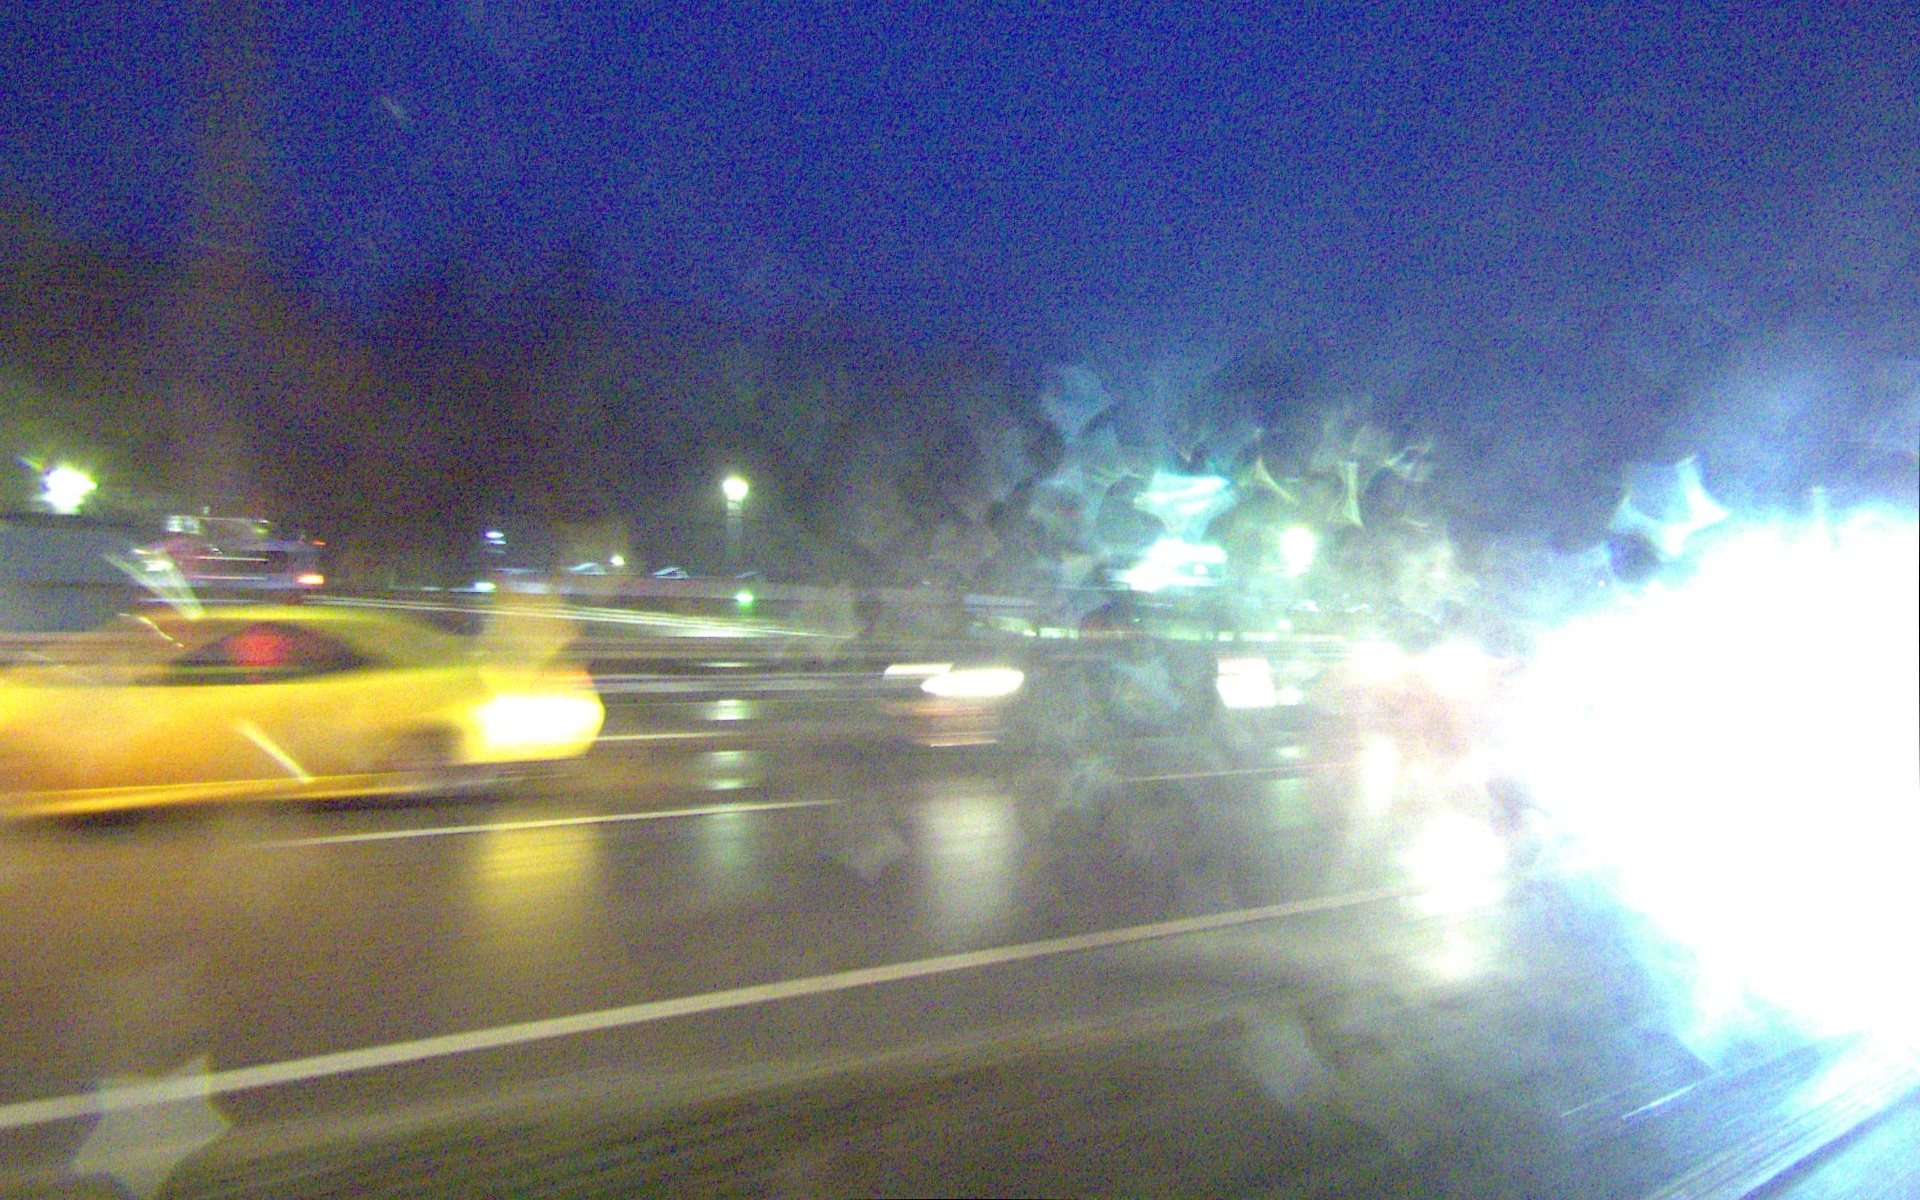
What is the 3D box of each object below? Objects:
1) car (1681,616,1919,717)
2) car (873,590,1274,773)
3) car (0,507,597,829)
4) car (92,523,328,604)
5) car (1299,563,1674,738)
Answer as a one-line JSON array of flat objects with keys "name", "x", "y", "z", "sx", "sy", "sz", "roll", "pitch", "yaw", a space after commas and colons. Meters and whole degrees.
[{"name": "car", "x": 15.872, "y": 1.156, "z": 18.415, "sx": 5.136, "sy": 1.579, "sz": 2.174, "roll": 2, "pitch": 0, "yaw": -27}, {"name": "car", "x": 1.181, "y": 0.740, "z": 10.380, "sx": 3.643, "sy": 1.549, "sz": 1.957, "roll": 2, "pitch": 1, "yaw": -29}, {"name": "car", "x": -4.944, "y": 0.378, "z": 6.805, "sx": 4.441, "sy": 1.770, "sz": 1.986, "roll": 2, "pitch": 1, "yaw": -27}, {"name": "car", "x": -24.559, "y": -1.152, "z": 33.245, "sx": 5.946, "sy": 2.338, "sz": 1.985, "roll": 2, "pitch": 1, "yaw": -28}, {"name": "car", "x": 7.305, "y": 0.633, "z": 13.870, "sx": 4.933, "sy": 2.040, "sz": 2.145, "roll": 2, "pitch": 1, "yaw": -28}]
